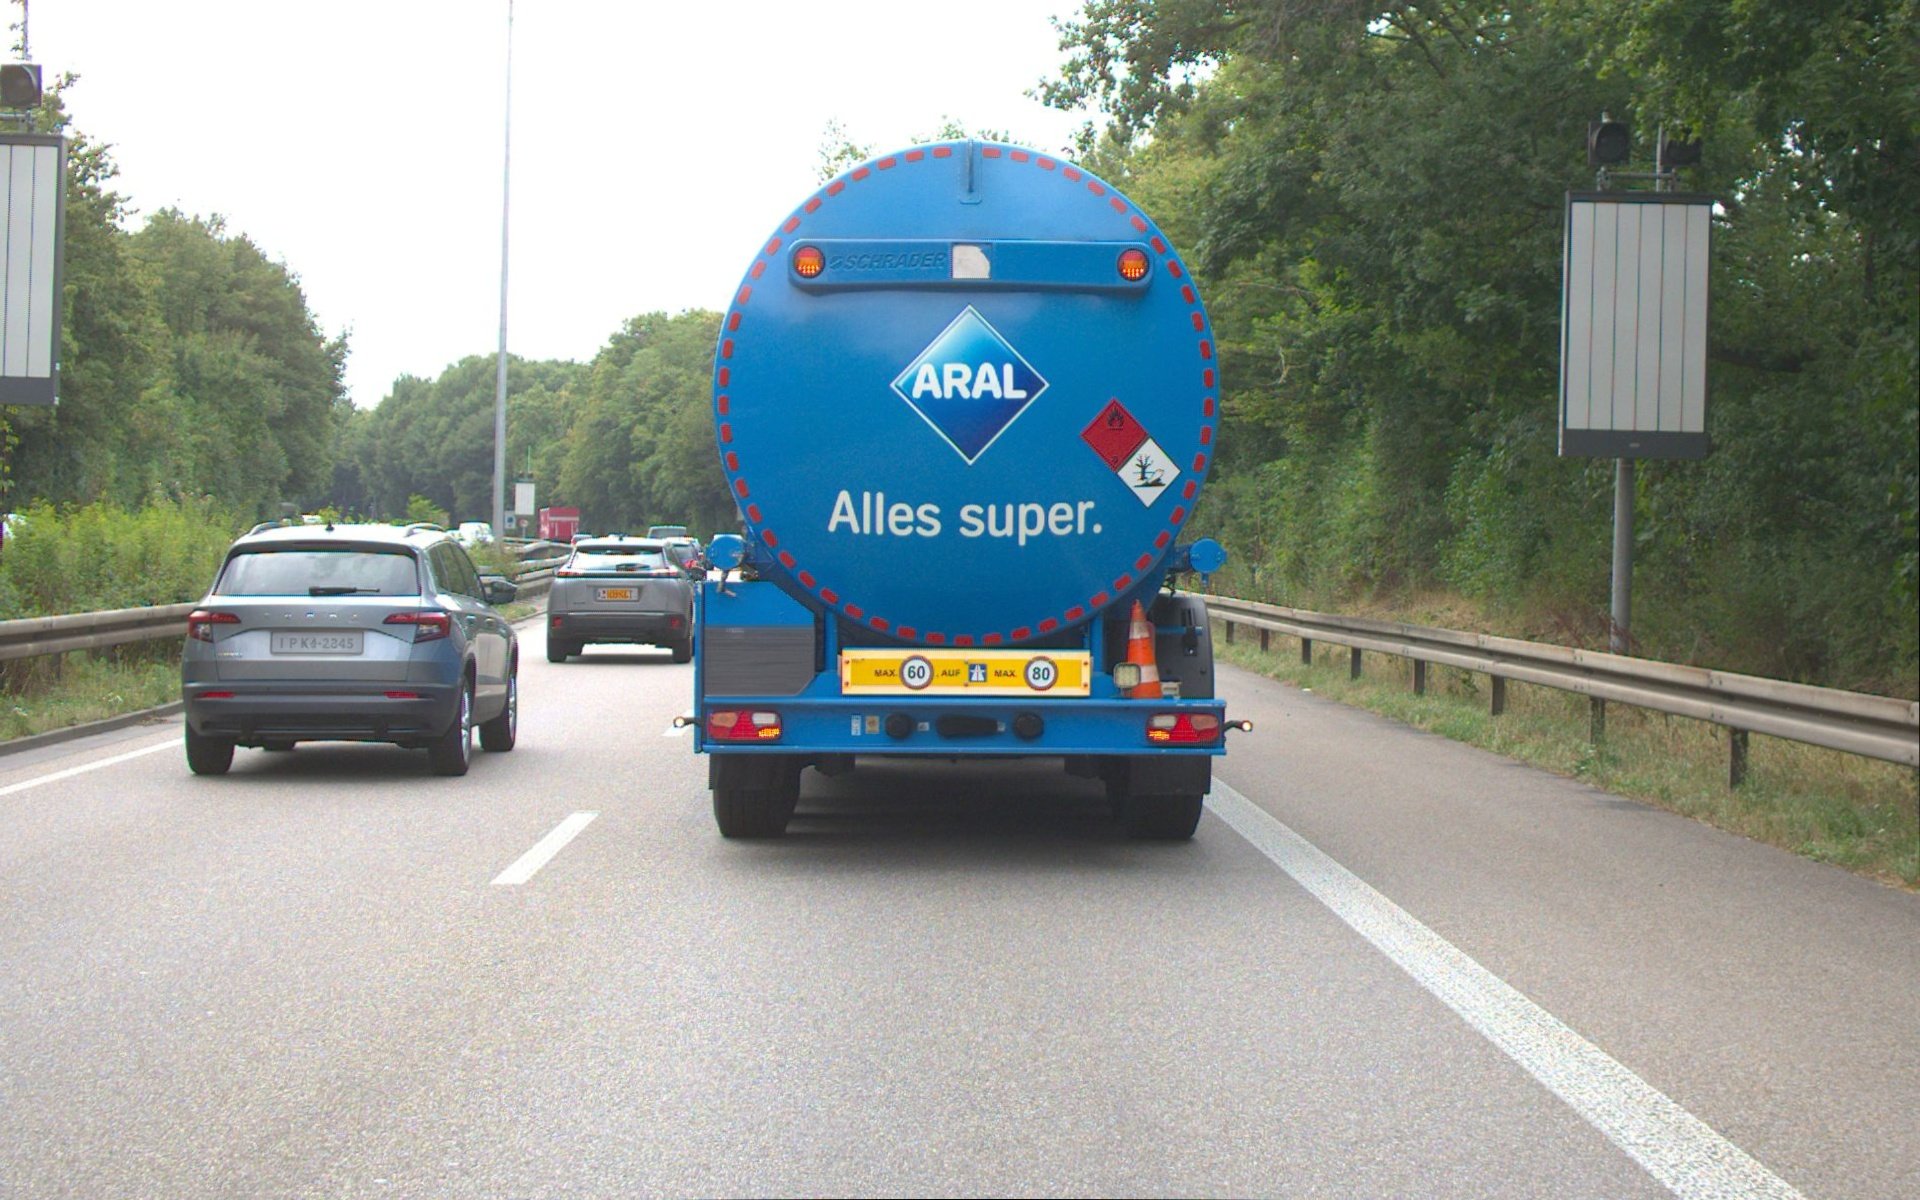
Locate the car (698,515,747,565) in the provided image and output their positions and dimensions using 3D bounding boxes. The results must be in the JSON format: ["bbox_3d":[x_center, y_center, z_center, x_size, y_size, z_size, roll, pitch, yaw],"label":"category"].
[{"bbox_3d":[-10.927,-2.744,158.315,1.993,2.237,4.000,0,1,0],"label":"car"}]

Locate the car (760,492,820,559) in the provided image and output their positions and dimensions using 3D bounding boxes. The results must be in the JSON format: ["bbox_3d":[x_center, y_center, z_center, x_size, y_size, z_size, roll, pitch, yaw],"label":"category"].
[{"bbox_3d":[-5.783,-2.508,117.389,1.993,2.237,4.000,0,1,-2],"label":"car"}]

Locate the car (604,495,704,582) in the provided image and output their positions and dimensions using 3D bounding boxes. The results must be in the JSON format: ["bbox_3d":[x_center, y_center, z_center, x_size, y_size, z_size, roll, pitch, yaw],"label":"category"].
[{"bbox_3d":[-7.221,-1.444,81.362,1.993,2.007,4.000,0,1,0],"label":"car"}]

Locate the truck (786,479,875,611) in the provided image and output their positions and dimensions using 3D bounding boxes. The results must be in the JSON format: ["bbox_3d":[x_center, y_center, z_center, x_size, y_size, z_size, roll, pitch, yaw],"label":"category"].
[{"bbox_3d":[-3.112,-1.323,83.916,1.993,3.082,7.815,0,1,-1],"label":"truck"}]

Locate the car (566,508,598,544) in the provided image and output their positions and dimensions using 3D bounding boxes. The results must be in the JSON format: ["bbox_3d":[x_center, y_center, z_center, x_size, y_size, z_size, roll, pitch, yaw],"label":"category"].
[{"bbox_3d":[-24.140,-4.714,219.517,1.993,2.237,4.001,0,1,-7],"label":"car"}]

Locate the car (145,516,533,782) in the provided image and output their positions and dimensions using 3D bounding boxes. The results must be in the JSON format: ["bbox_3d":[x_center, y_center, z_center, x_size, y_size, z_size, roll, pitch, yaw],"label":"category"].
[{"bbox_3d":[-4.024,0.274,22.937,1.826,1.604,4.167,0,1,0],"label":"car"}]

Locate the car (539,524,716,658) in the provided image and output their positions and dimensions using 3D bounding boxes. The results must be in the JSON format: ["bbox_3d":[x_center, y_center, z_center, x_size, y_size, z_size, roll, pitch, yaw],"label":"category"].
[{"bbox_3d":[-4.156,-0.134,43.505,1.826,1.604,4.167,0,1,0],"label":"car"}]

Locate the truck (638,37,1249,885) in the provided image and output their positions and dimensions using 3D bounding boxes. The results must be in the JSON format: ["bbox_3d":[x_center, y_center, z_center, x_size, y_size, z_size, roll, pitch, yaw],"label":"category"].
[{"bbox_3d":[-0.070,-0.674,19.453,2.755,3.833,7.688,0,1,0],"label":"truck"}]
